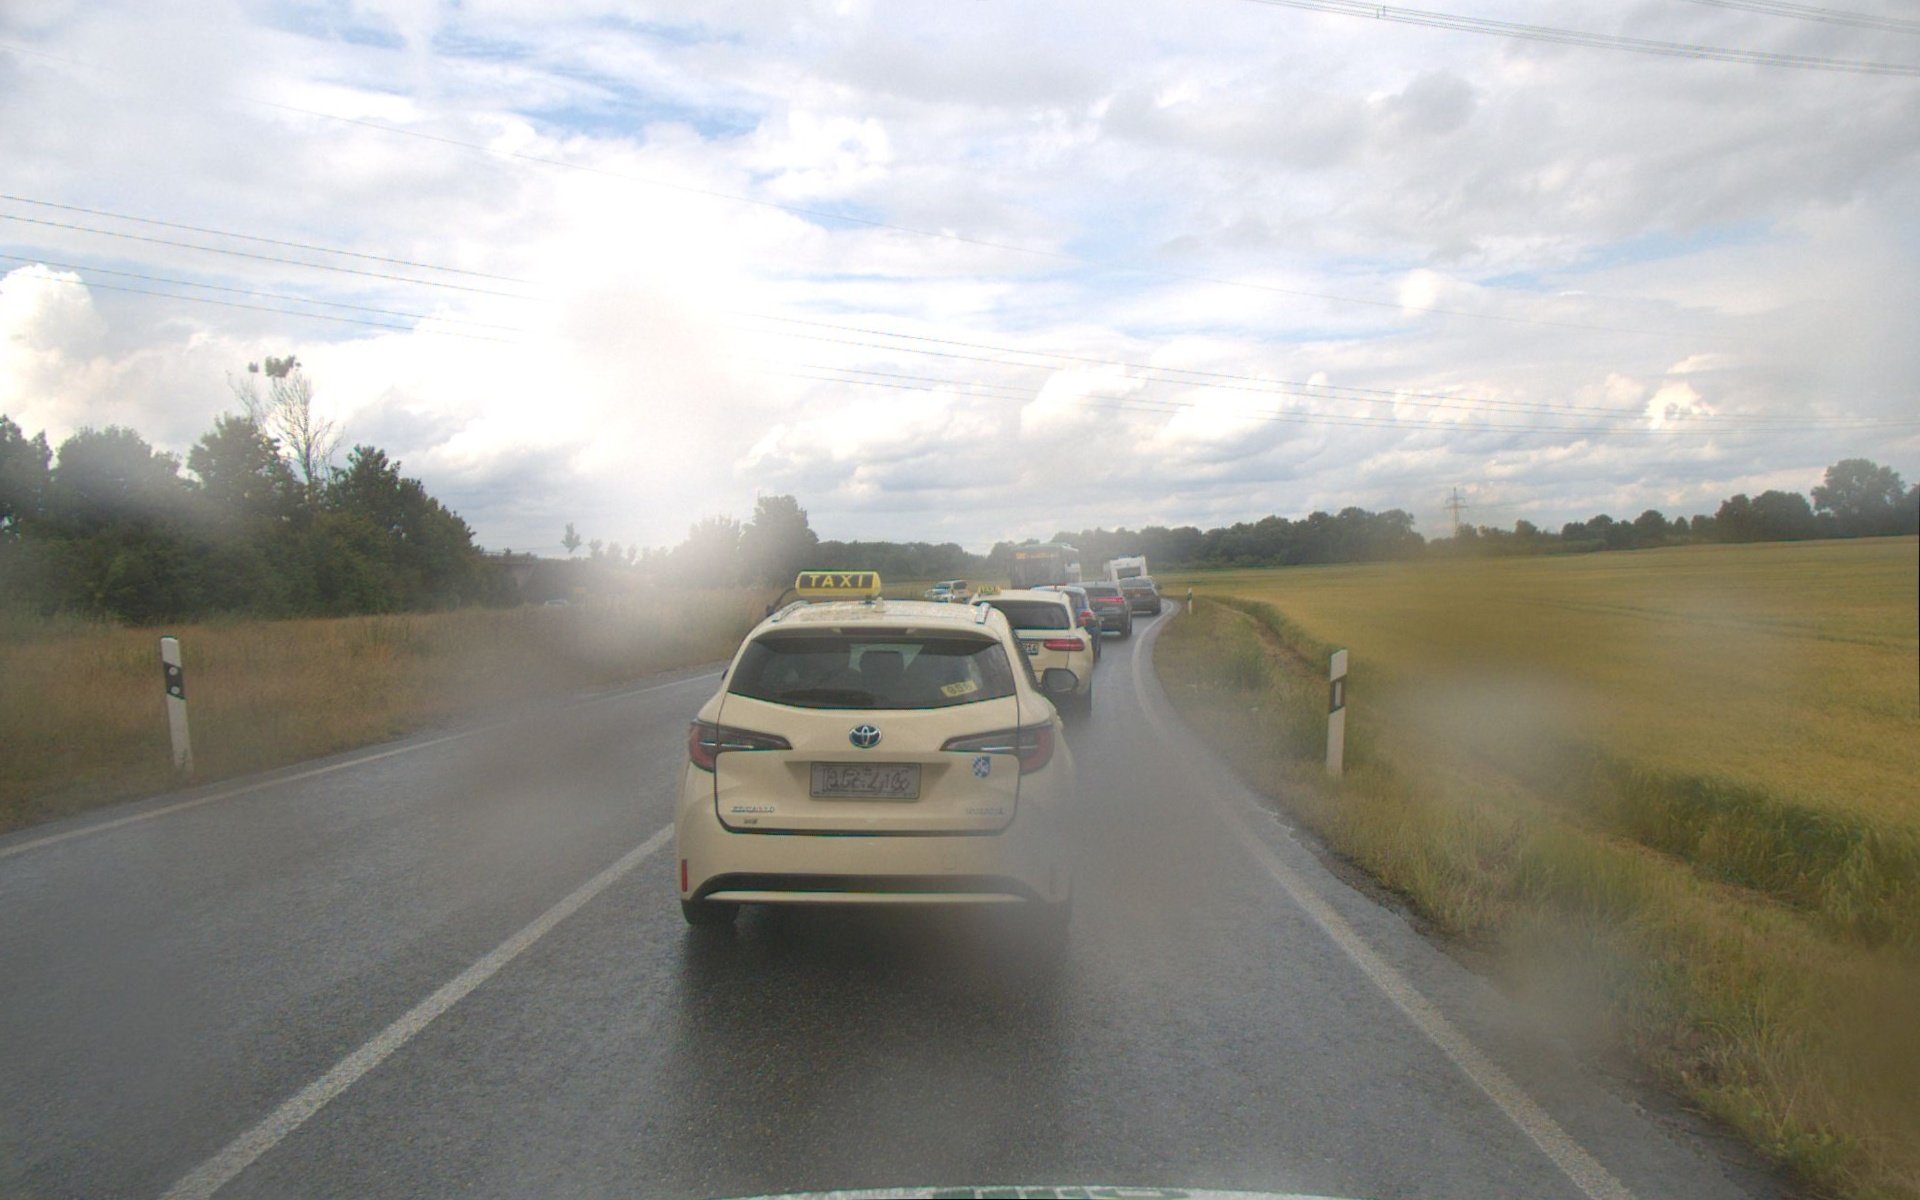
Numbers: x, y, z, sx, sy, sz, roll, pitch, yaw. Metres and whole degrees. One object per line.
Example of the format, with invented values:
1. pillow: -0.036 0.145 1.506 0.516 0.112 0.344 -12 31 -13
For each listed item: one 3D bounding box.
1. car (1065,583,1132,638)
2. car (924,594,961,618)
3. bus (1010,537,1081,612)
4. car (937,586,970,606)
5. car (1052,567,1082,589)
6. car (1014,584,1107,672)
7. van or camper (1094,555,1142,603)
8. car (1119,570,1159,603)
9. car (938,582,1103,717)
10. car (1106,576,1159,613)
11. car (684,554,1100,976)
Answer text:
1. car: 3.884 0.297 45.950 1.578 1.438 3.741 0 -1 9
2. car: -1.578 0.550 148.610 1.964 2.049 4.353 1 -1 -20
3. bus: 4.265 -1.199 80.005 2.699 3.355 12.511 0 1 6
4. car: -0.668 -0.398 156.317 1.855 1.804 4.135 1 -1 -20
5. car: 6.725 -1.398 104.292 1.683 1.273 4.000 1 -1 0
6. car: 2.123 0.564 34.049 1.578 1.688 3.741 0 -1 8
7. van or camper: 10.085 -1.332 106.035 2.484 2.946 6.743 0 0 0
8. car: 9.780 -0.717 90.650 1.919 1.759 3.739 1 -1 2
9. car: 0.890 0.548 21.369 1.802 1.518 4.611 1 1 6
10. car: 7.022 -0.192 67.077 1.918 1.438 4.395 0 -1 8
11. car: -0.190 0.648 8.192 1.579 1.589 3.739 1 -1 2
